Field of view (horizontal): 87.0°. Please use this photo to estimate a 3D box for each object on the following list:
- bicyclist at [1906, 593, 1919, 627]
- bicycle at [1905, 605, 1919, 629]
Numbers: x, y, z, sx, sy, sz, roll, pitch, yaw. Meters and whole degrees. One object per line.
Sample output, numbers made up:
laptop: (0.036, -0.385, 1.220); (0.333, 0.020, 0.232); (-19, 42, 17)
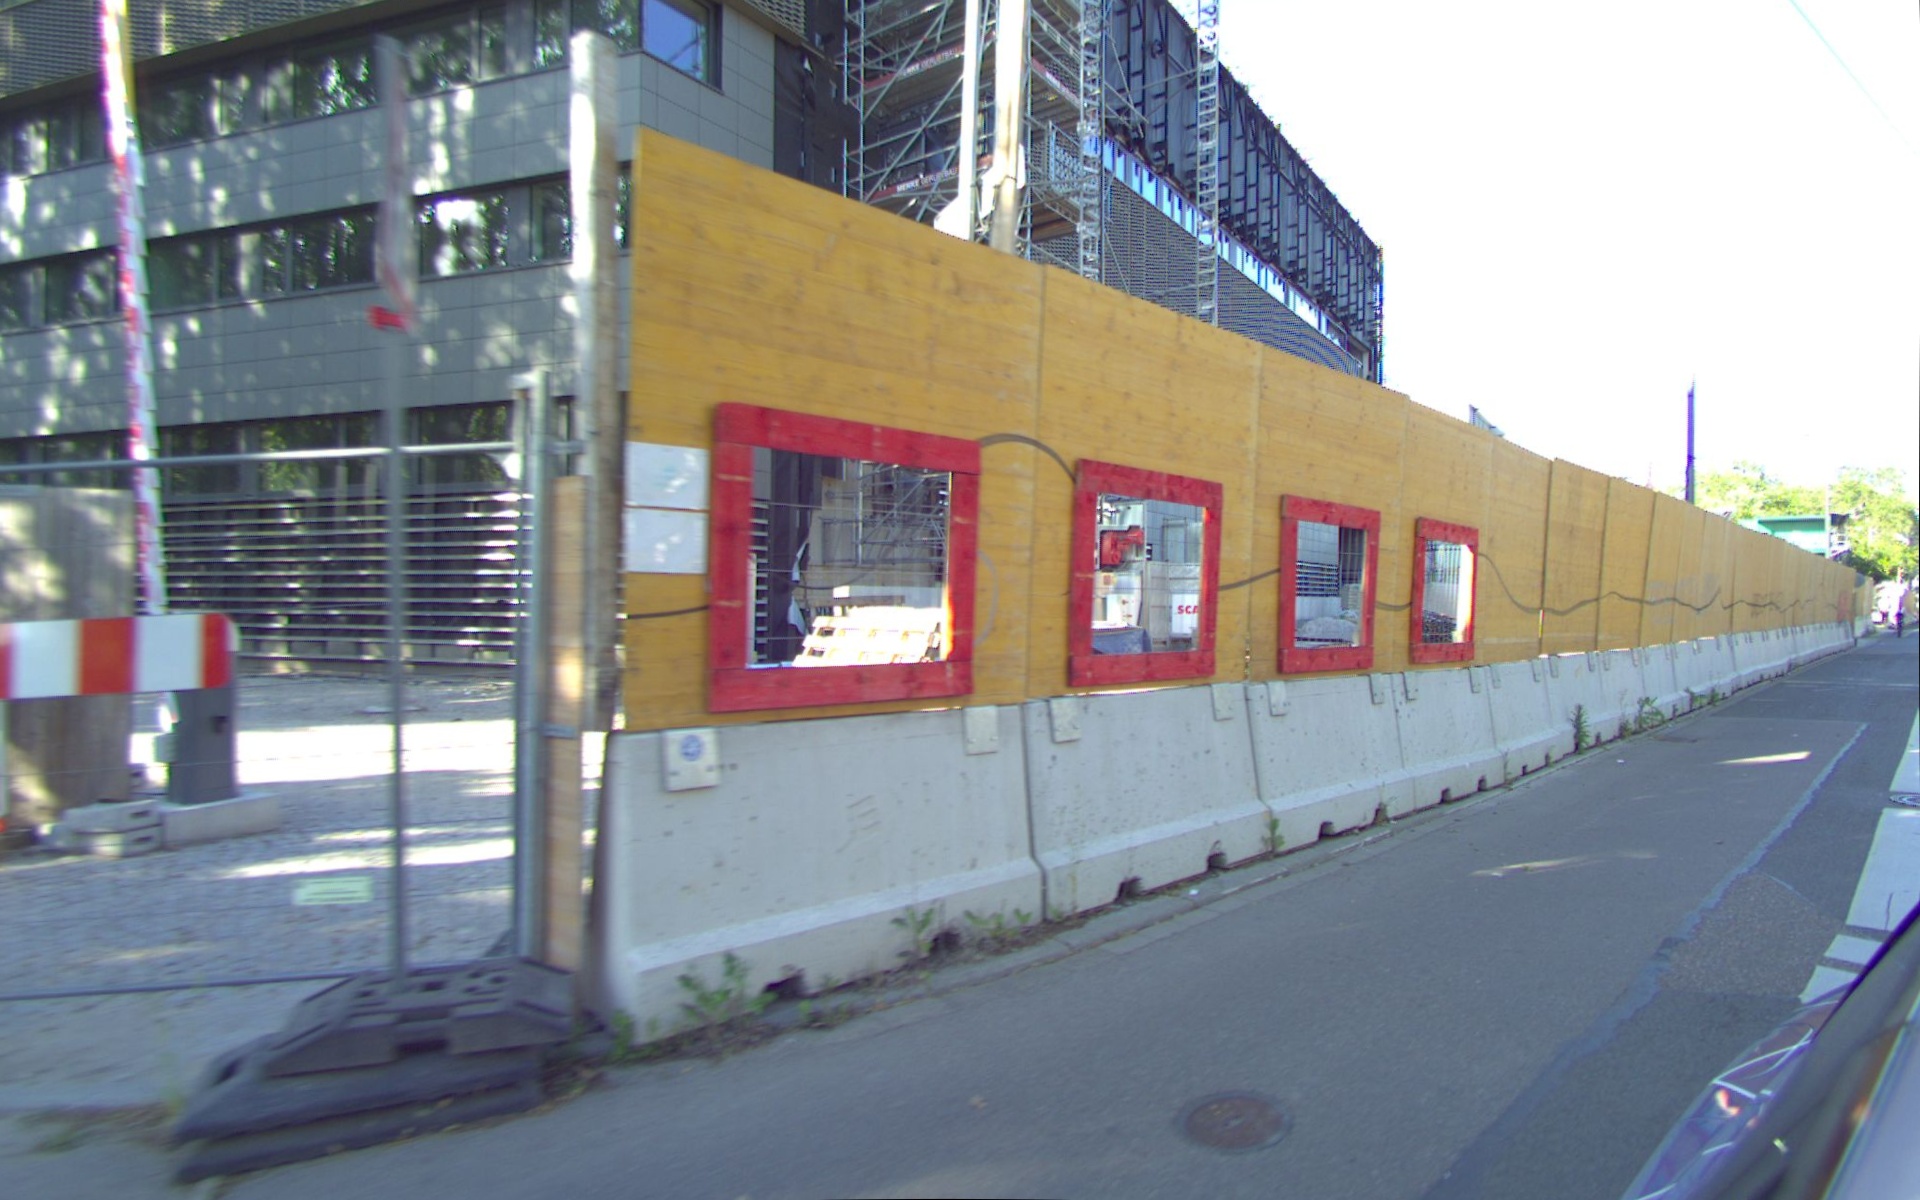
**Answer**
bicyclist: (47.458, 0.490, 50.344); (0.556, 1.633, 0.567); (1, 0, 44)
bicycle: (47.512, 0.847, 50.425); (0.557, 1.141, 2.241); (1, 1, 42)
